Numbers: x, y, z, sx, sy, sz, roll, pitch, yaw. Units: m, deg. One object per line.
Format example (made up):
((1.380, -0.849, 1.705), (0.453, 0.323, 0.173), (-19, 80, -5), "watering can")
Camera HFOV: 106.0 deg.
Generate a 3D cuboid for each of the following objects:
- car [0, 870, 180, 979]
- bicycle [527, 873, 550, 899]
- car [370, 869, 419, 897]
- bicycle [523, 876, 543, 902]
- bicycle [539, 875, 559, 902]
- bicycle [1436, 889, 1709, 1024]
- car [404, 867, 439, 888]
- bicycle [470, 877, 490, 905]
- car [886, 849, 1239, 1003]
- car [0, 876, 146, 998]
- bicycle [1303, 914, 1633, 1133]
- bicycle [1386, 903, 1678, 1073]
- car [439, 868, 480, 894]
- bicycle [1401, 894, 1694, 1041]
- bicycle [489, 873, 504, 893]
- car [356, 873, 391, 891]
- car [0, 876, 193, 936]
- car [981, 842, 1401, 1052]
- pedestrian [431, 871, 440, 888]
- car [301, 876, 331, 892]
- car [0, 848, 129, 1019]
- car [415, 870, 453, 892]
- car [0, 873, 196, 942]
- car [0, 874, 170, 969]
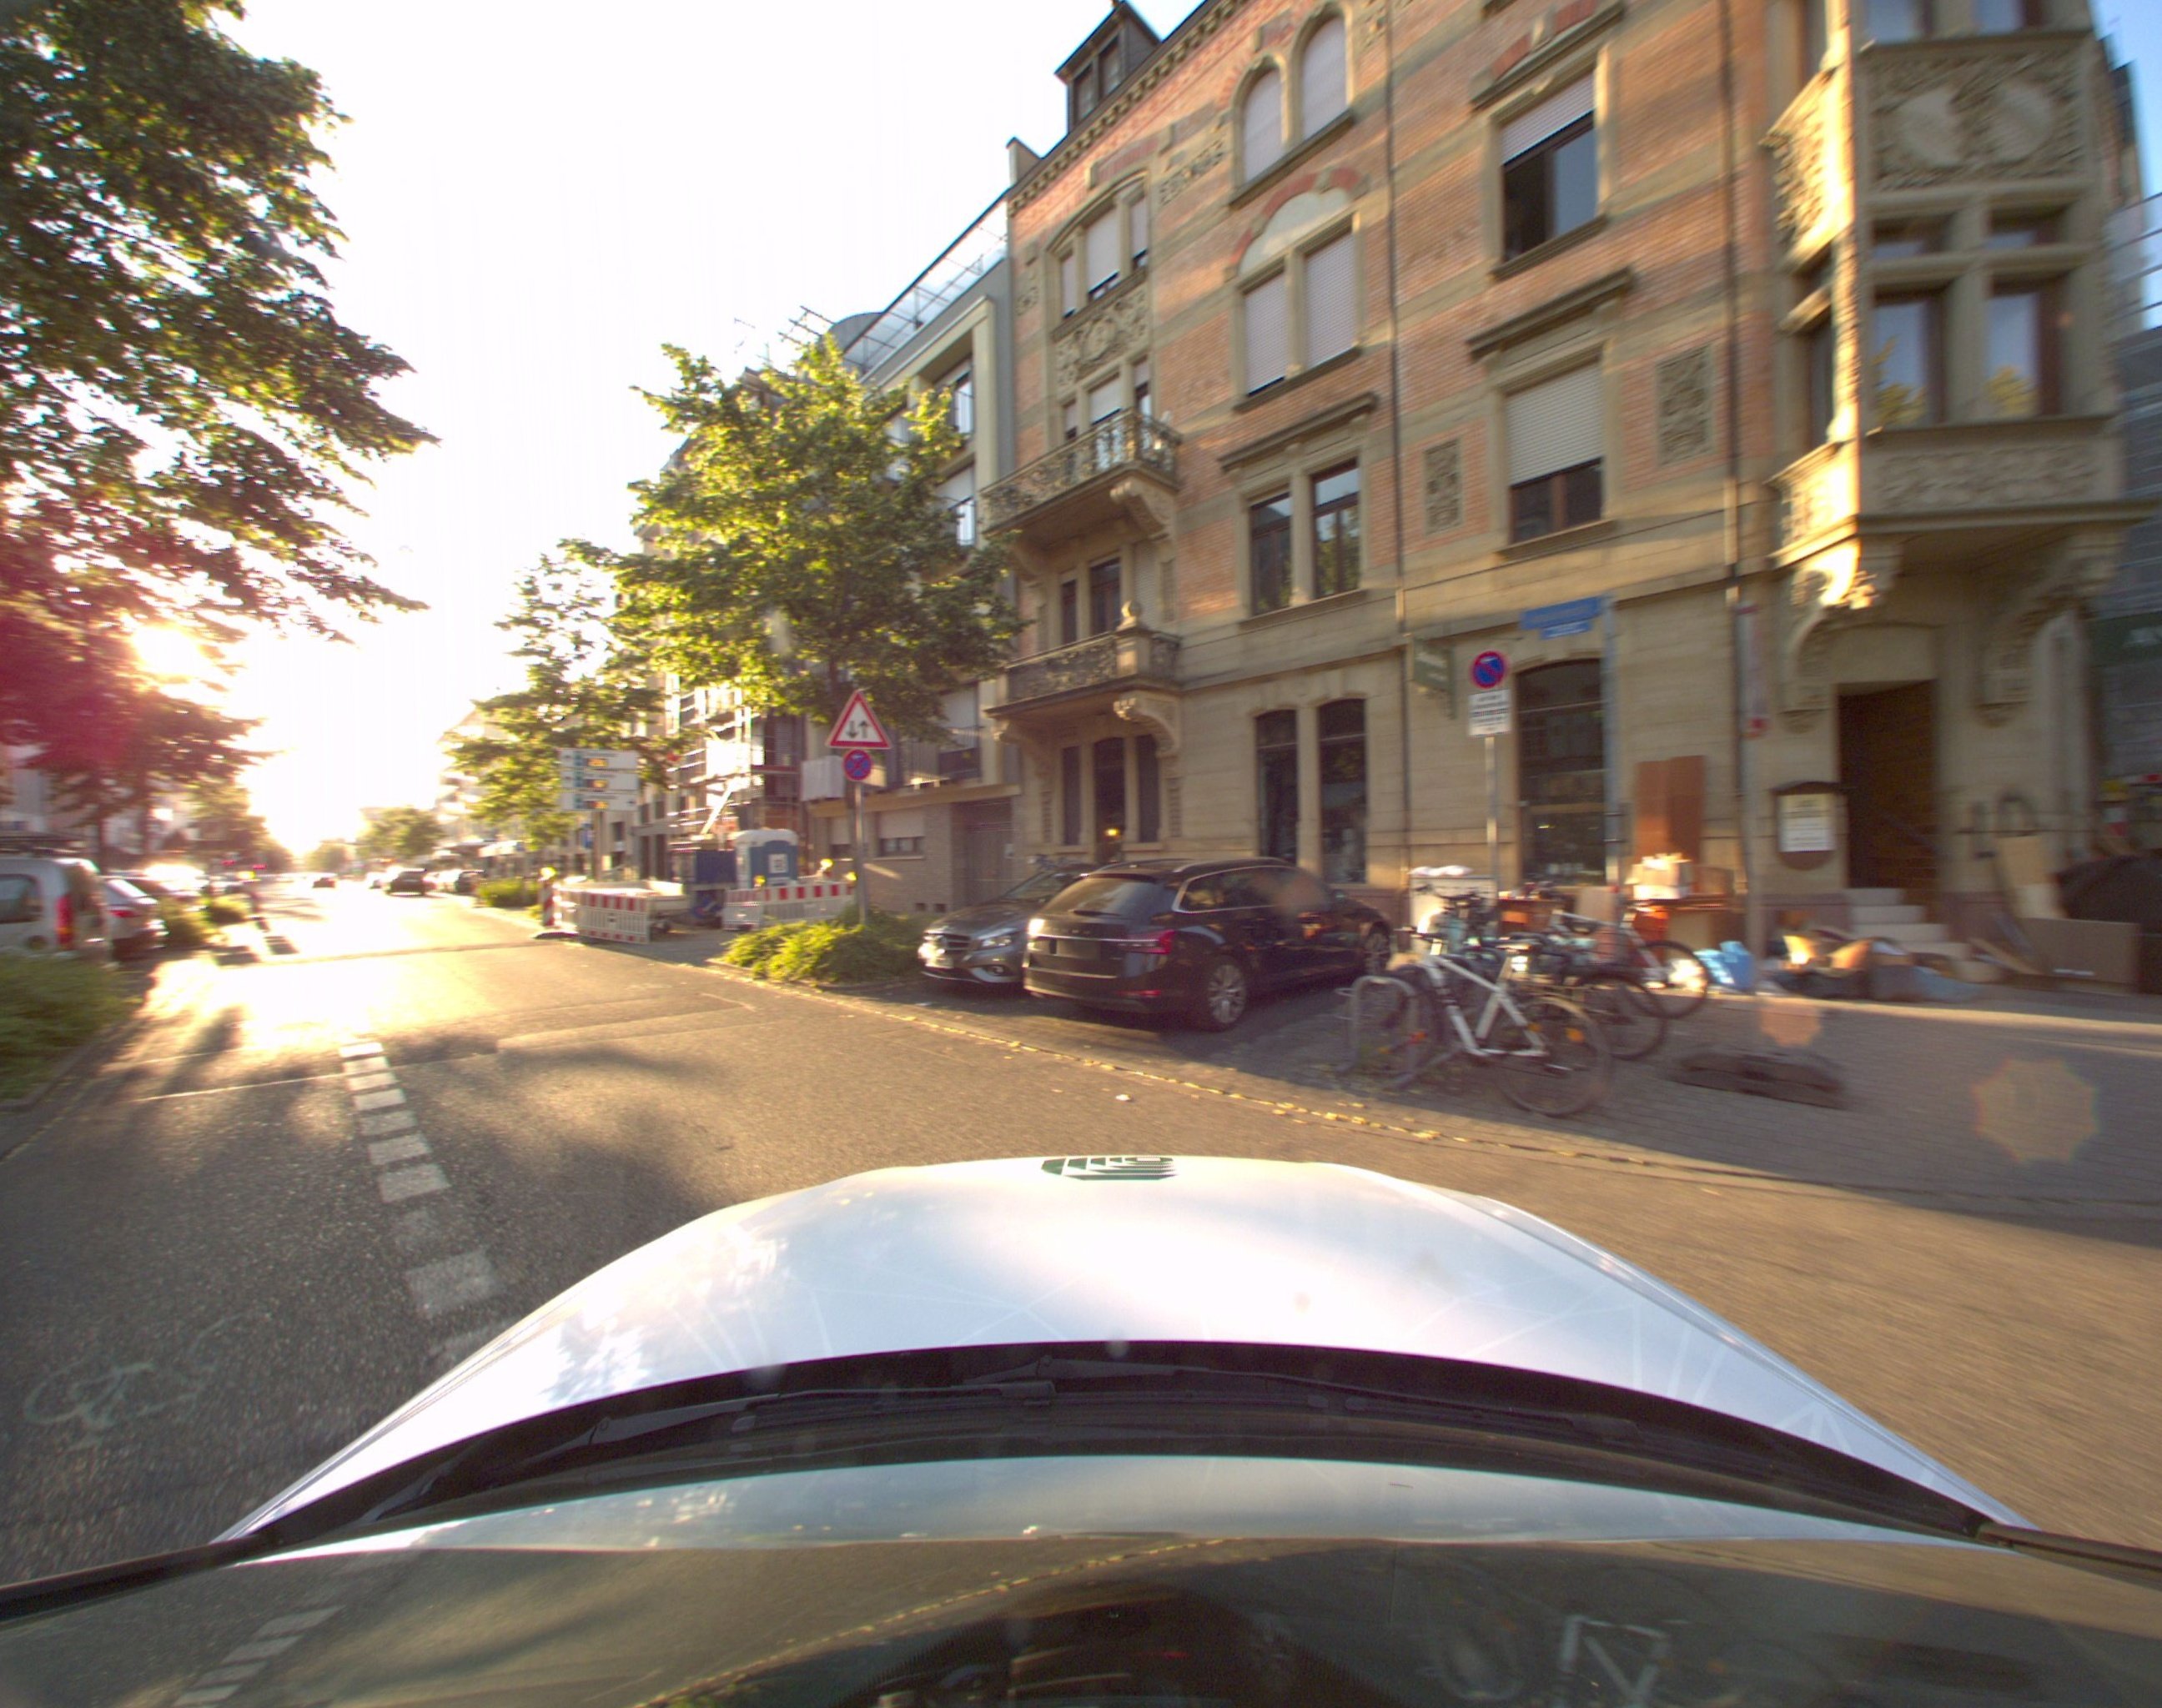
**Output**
((-16.665, 1.060, 12.321), (3.858, 1.585, 1.720), (1, -2, -42), "car")
((-23.414, 1.375, 35.121), (1.503, 1.100, 0.385), (-2, -1, 39), "bicycle")
((-42.447, 1.760, 50.317), (2.013, 1.655, 4.616), (2, -3, -44), "car")
((-24.209, 1.552, 35.998), (1.504, 1.100, 0.385), (-2, -2, 42), "bicycle")
((-23.819, 1.536, 36.438), (1.504, 1.189, 0.385), (-2, -2, 42), "bicycle")
((4.432, 0.873, 7.504), (2.084, 1.040, 0.468), (-1, 0, 45), "bicycle")
((-49.418, 1.745, 60.963), (1.718, 1.436, 3.883), (-1, -1, -44), "car")
((-24.448, 1.480, 33.125), (1.504, 1.100, 0.385), (-2, -1, 43), "bicycle")
((-0.038, 0.754, 10.684), (4.568, 1.479, 1.844), (-2, 0, -44), "car")
((-15.081, 1.109, 10.525), (3.680, 1.515, 1.630), (-1, 0, -39), "car")
((2.376, 0.965, 5.204), (0.574, 1.047, 1.810), (-1, 0, -42), "bicycle")
((3.334, 0.924, 6.150), (1.809, 1.013, 0.643), (-1, 0, 45), "bicycle")
((-39.352, 1.699, 51.542), (2.660, 1.553, 1.648), (-2, 0, 43), "car")
((3.930, 0.893, 7.024), (2.084, 1.013, 0.643), (-1, 0, 45), "bicycle")
((-37.492, 1.843, 52.203), (1.802, 1.234, 0.400), (-2, 0, 43), "bicycle")
((-59.143, 2.321, 68.055), (1.939, 1.415, 4.492), (3, -3, -44), "car")
((-26.043, 1.316, 21.440), (3.426, 1.392, 1.666), (0, -1, -42), "car")
((1.385, 0.707, 8.486), (4.568, 1.511, 1.887), (-2, 0, -44), "car")
((-68.288, 2.697, 86.211), (0.693, 1.721, 0.708), (-2, 0, -38), "pedestrian")
((-70.107, 2.745, 74.601), (1.900, 1.415, 4.271), (0, -2, -44), "car")
((-13.303, 0.905, 8.701), (3.843, 1.849, 1.680), (-1, -1, -41), "car")
((-44.661, 1.827, 56.182), (1.648, 1.424, 3.711), (-1, 0, -45), "car")
((-24.440, 1.256, 19.738), (3.928, 1.517, 1.834), (0, -1, -44), "car")
((-18.720, 1.163, 13.866), (1.740, 1.516, 4.247), (-2, 0, 42), "car")
